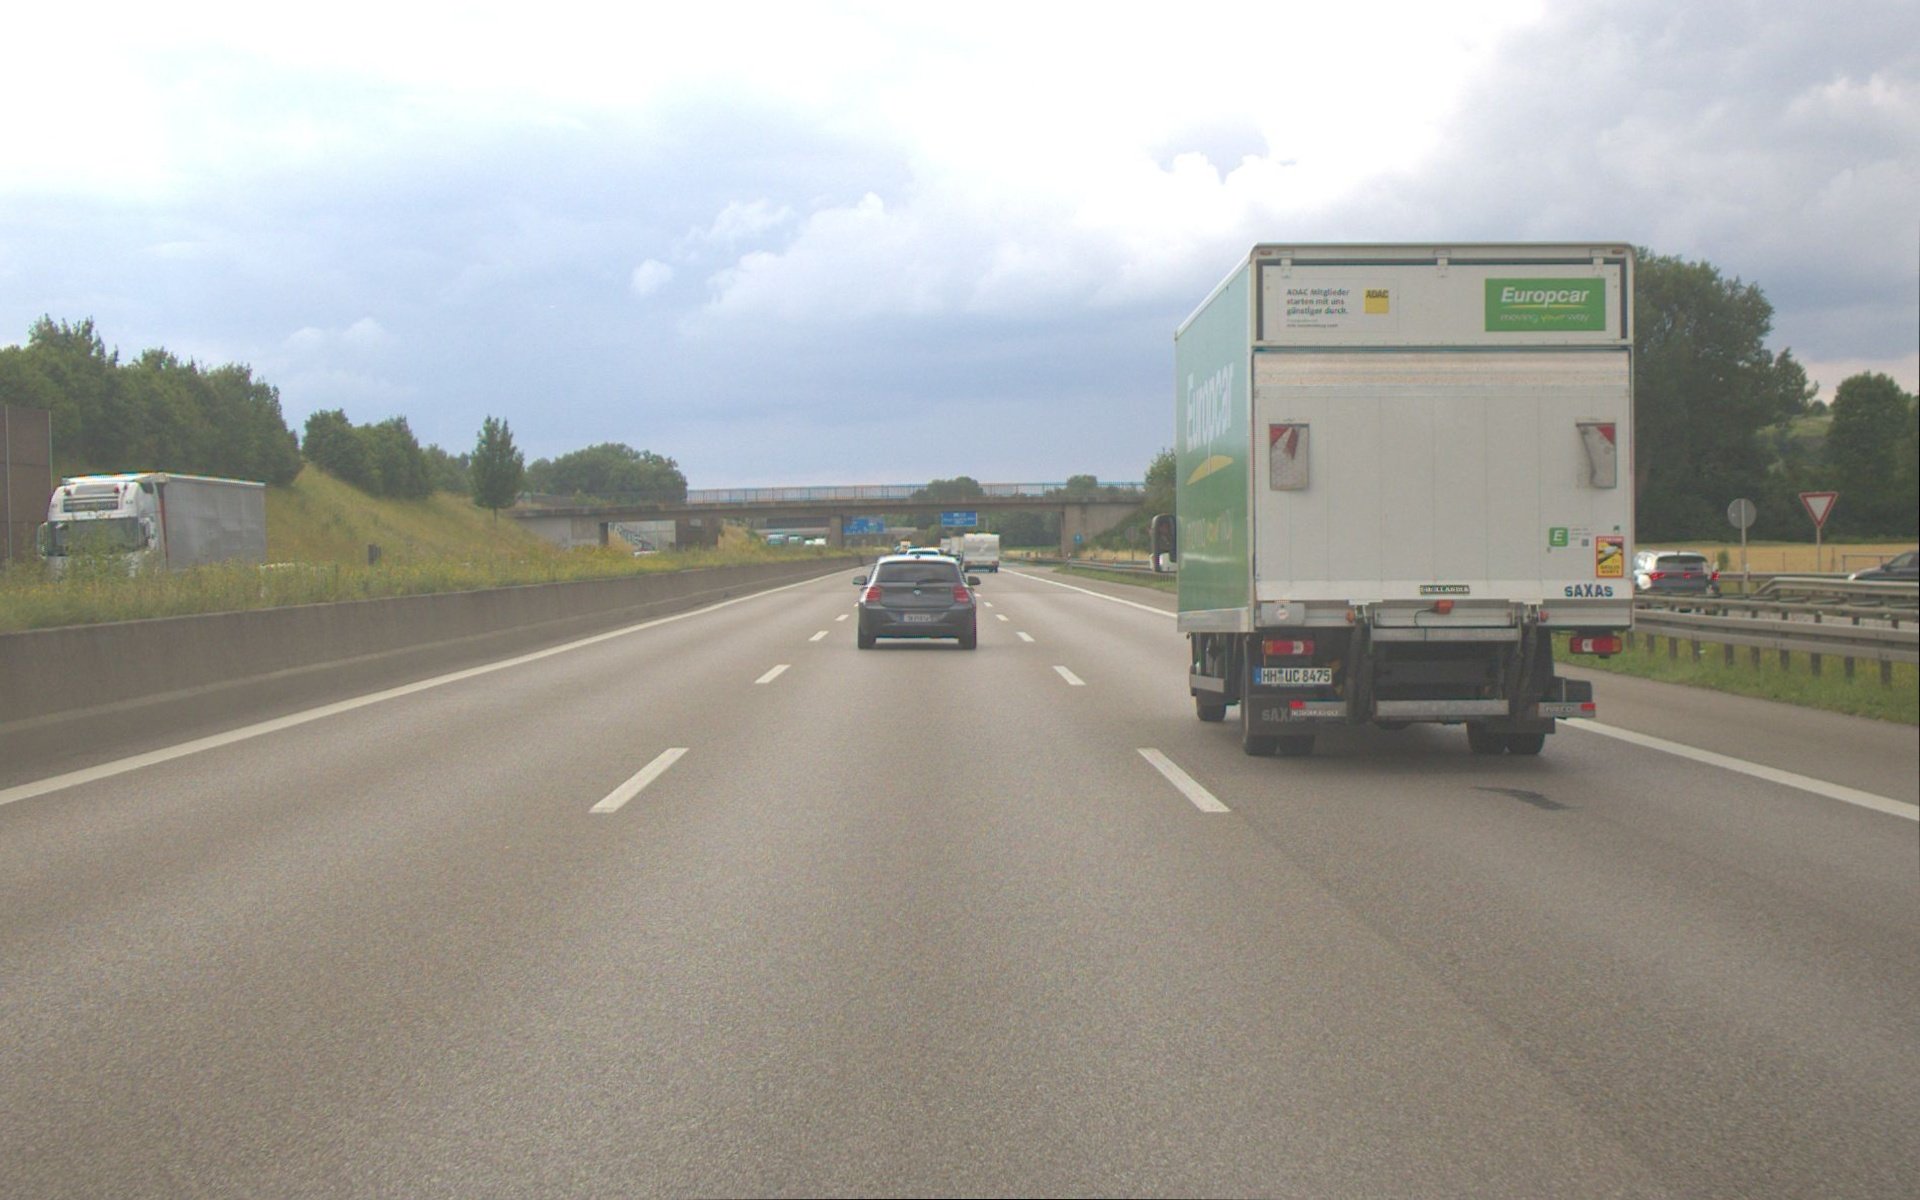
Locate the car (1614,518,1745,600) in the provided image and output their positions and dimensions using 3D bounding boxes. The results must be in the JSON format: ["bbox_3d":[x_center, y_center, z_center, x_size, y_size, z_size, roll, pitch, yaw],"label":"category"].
[{"bbox_3d":[16.177,-0.936,77.532,1.828,1.751,5.066,-1,1,-1],"label":"car"}]

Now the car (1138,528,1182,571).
[{"bbox_3d":[12.035,-3.035,207.420,2.221,2.559,6.256,0,1,0],"label":"car"}]

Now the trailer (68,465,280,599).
[{"bbox_3d":[-21.355,-1.842,94.308,2.820,3.365,13.511,-1,1,-1],"label":"trailer"}]

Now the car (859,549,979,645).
[{"bbox_3d":[-0.619,-0.075,52.166,1.743,1.384,4.000,0,1,-1],"label":"car"}]

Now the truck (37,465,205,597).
[{"bbox_3d":[-21.288,-1.741,87.504,2.824,3.216,5.981,-1,1,-1],"label":"truck"}]

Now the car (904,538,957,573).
[{"bbox_3d":[-1.166,-1.731,133.133,1.993,1.294,4.000,-1,1,-1],"label":"car"}]

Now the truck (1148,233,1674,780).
[{"bbox_3d":[3.149,-0.678,26.654,2.770,3.492,9.062,0,1,-1],"label":"truck"}]

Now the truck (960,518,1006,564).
[{"bbox_3d":[1.493,-3.902,228.568,2.710,2.954,12.447,1,1,-1],"label":"truck"}]
